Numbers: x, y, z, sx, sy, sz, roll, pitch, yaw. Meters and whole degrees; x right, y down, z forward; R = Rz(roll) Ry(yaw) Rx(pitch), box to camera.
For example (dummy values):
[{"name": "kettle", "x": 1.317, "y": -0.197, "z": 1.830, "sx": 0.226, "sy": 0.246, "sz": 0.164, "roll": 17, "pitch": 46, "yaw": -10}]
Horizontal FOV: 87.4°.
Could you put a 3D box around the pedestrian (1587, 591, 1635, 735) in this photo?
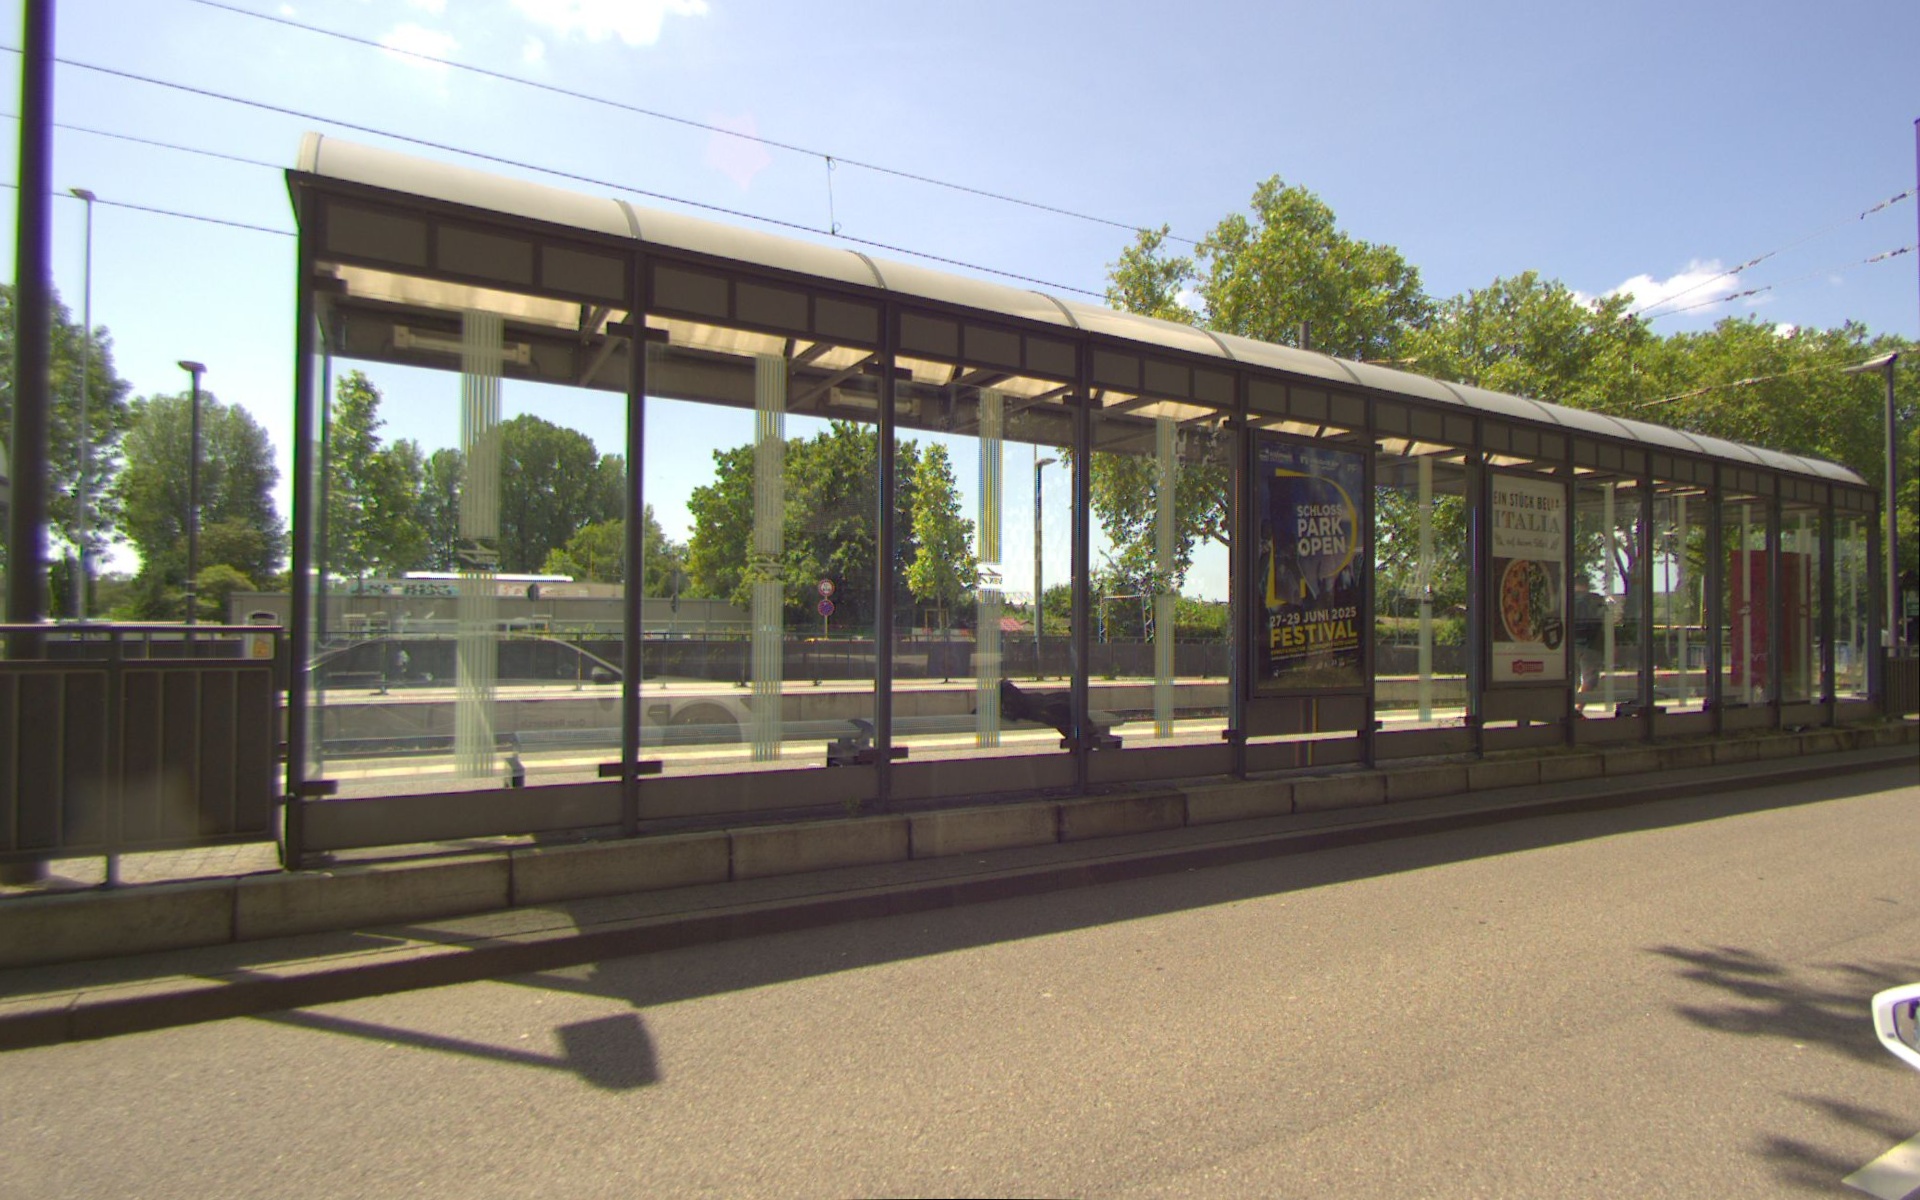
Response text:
[{"name": "pedestrian", "x": 7.083, "y": 0.670, "z": 10.920, "sx": 0.412, "sy": 1.528, "sz": 0.394, "roll": 0, "pitch": -1, "yaw": 37}]

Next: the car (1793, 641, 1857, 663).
[{"name": "car", "x": 62.776, "y": 3.771, "z": 72.922, "sx": 1.641, "sy": 1.495, "sz": 3.288, "roll": 2, "pitch": -2, "yaw": -40}]

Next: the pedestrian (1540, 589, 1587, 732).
[{"name": "pedestrian", "x": 6.629, "y": 0.656, "z": 11.033, "sx": 0.412, "sy": 1.528, "sz": 0.394, "roll": 0, "pitch": -1, "yaw": 37}]
